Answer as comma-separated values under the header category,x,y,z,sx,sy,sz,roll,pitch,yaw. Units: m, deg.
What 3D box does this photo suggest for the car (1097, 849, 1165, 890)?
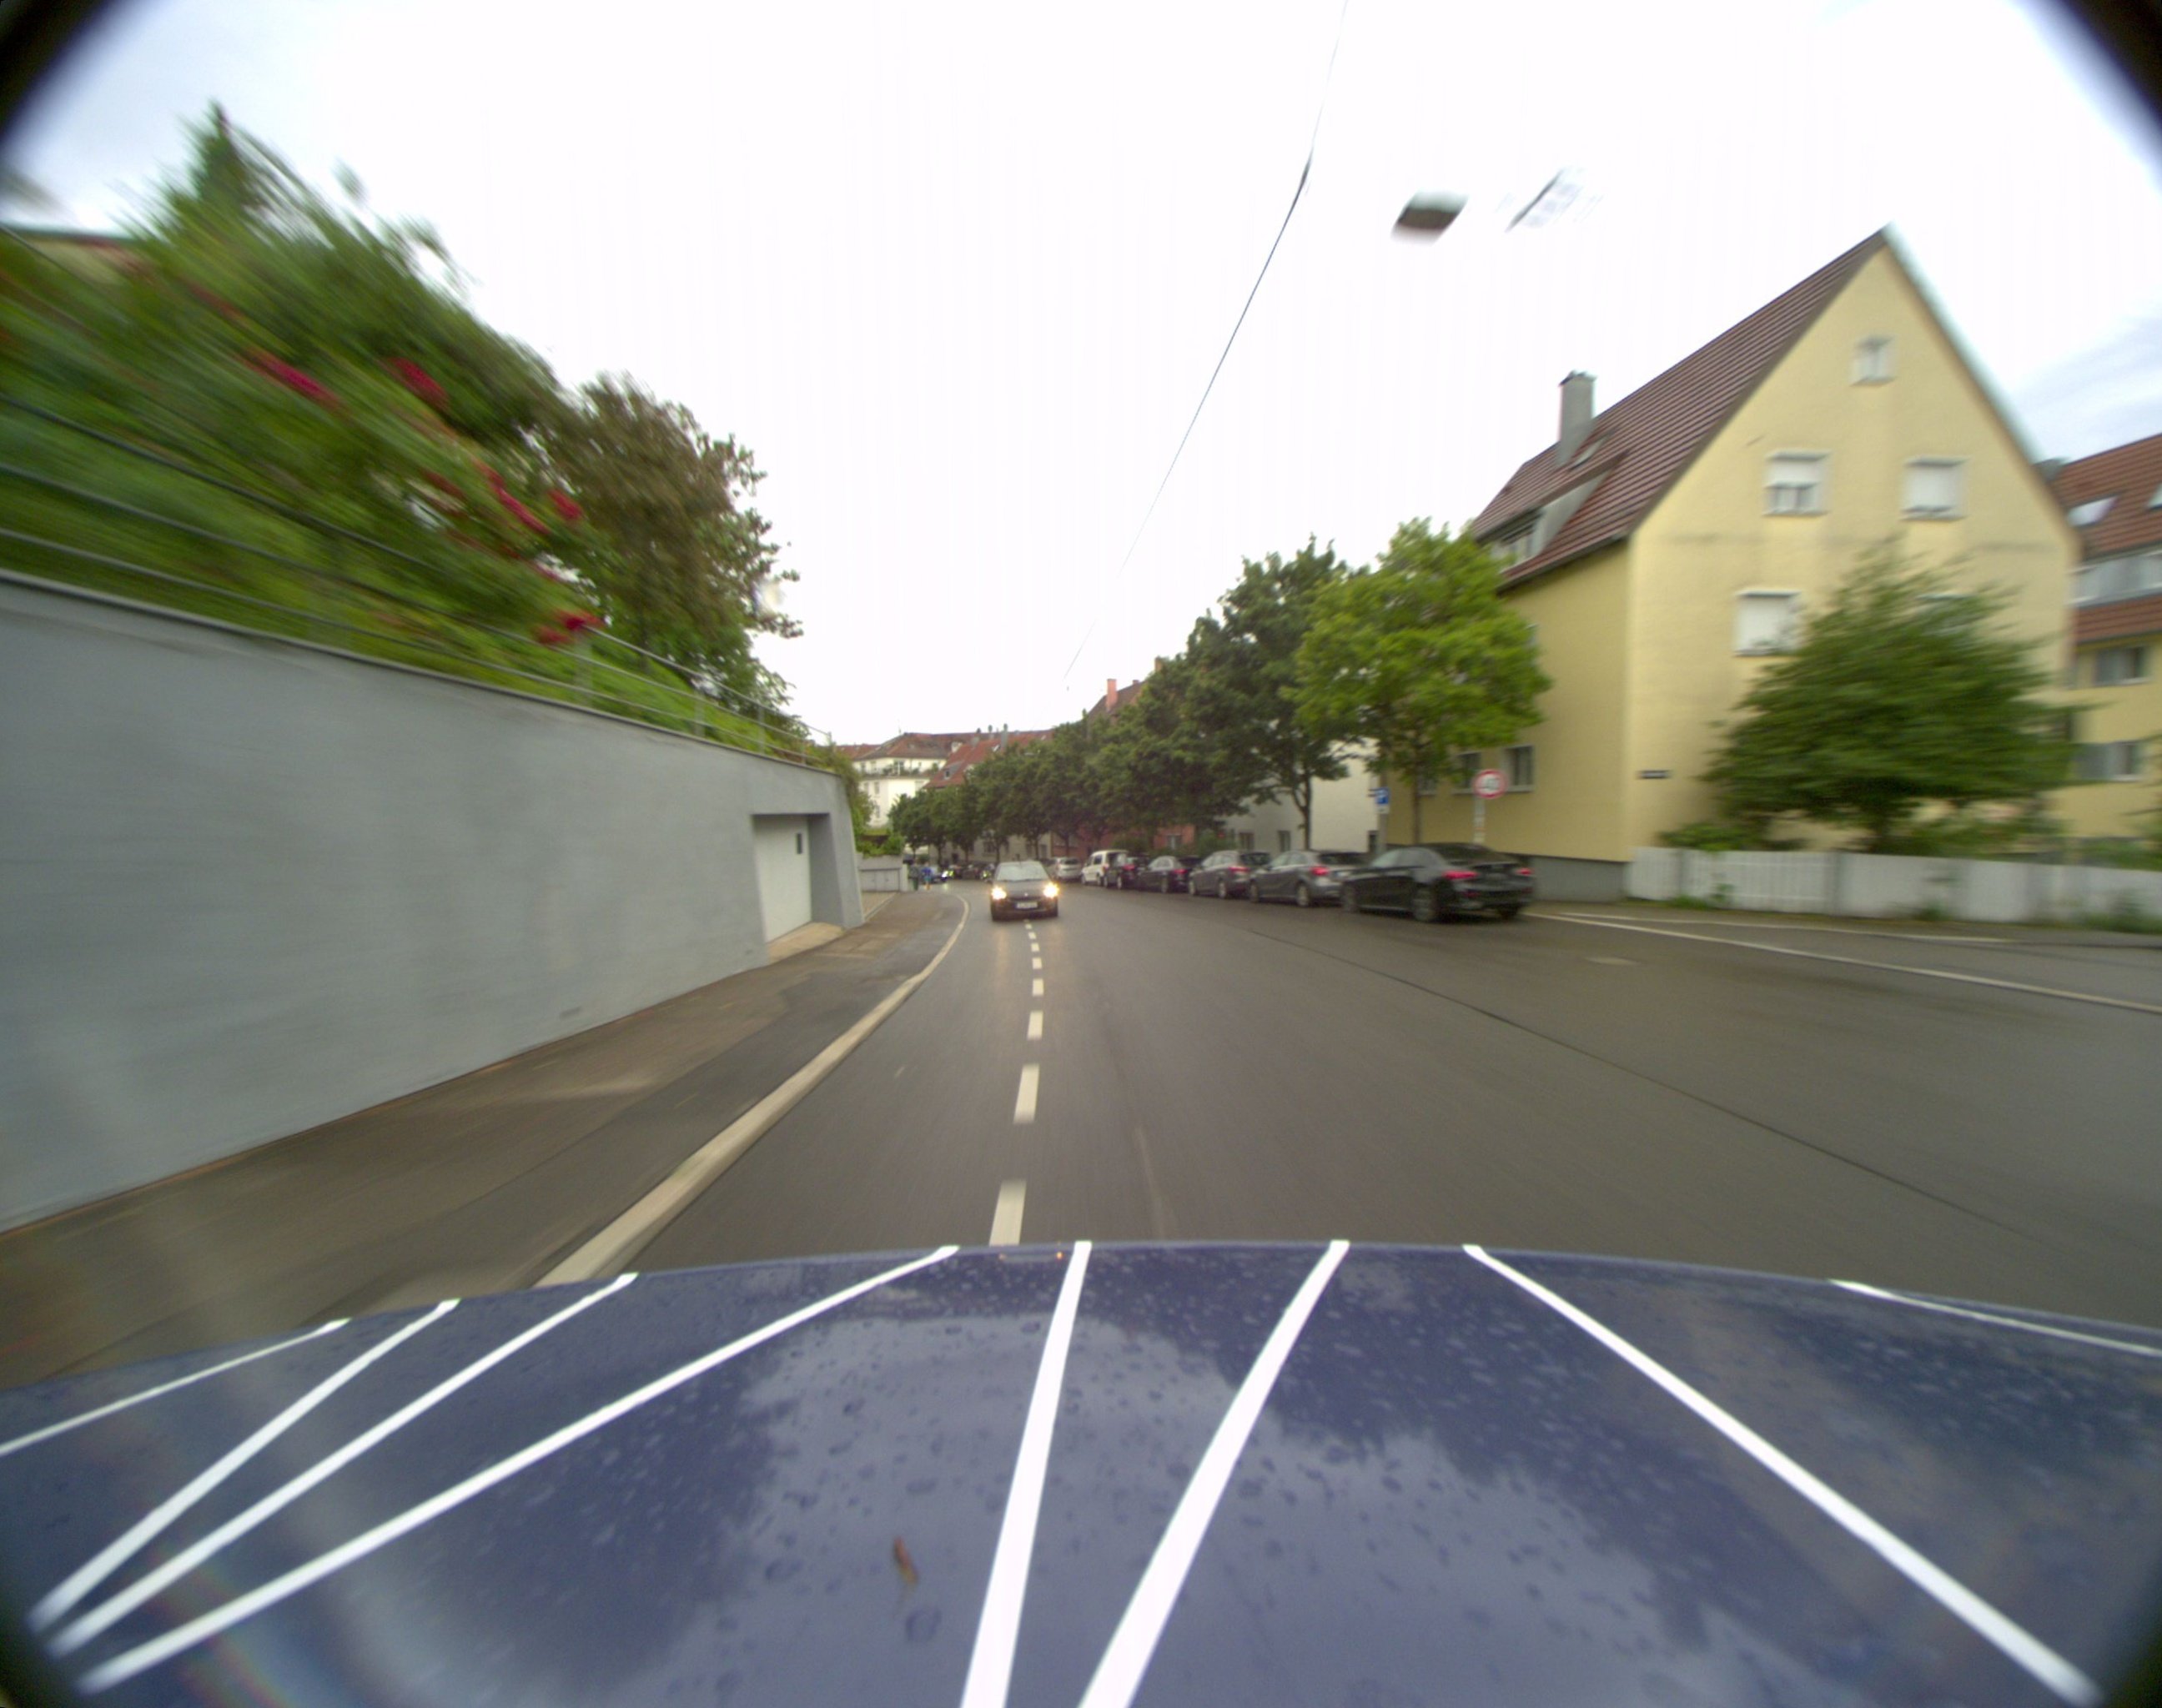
category,x,y,z,sx,sy,sz,roll,pitch,yaw
car,2.246,0.683,35.414,1.860,1.658,4.583,-3,0,-12

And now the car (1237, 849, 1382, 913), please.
category,x,y,z,sx,sy,sz,roll,pitch,yaw
car,5.738,0.633,19.678,1.620,1.388,4.318,-2,0,-13

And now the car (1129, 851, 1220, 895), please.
category,x,y,z,sx,sy,sz,roll,pitch,yaw
car,3.610,0.721,30.326,1.861,1.490,4.734,-3,0,-16

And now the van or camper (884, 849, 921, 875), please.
category,x,y,z,sx,sy,sz,roll,pitch,yaw
van or camper,-21.053,0.957,89.401,2.077,2.843,5.733,-2,0,-37

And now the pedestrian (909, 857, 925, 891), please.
category,x,y,z,sx,sy,sz,roll,pitch,yaw
pedestrian,-9.093,1.097,42.058,0.779,1.821,1.250,0,-1,-15

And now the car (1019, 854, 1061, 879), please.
category,x,y,z,sx,sy,sz,roll,pitch,yaw
car,-3.006,0.885,54.494,1.794,1.631,4.473,-3,0,-19

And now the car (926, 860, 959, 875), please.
category,x,y,z,sx,sy,sz,roll,pitch,yaw
car,-14.622,1.401,79.908,1.796,1.484,4.488,-2,0,-32

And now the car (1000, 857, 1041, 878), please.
category,x,y,z,sx,sy,sz,roll,pitch,yaw
car,-4.785,1.046,59.626,1.795,1.484,4.353,-3,0,-24

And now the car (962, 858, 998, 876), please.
category,x,y,z,sx,sy,sz,roll,pitch,yaw
car,-9.366,1.226,70.205,1.795,1.484,4.352,-3,0,-27

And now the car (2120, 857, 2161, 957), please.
category,x,y,z,sx,sy,sz,roll,pitch,yaw
car,17.705,0.906,10.602,4.000,1.436,1.998,3,1,-7

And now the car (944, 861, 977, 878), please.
category,x,y,z,sx,sy,sz,roll,pitch,yaw
car,-11.913,1.499,74.996,1.795,1.485,4.635,-4,1,-27

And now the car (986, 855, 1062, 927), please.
category,x,y,z,sx,sy,sz,roll,pitch,yaw
car,-1.606,0.889,20.392,1.699,1.456,3.996,-6,2,-6

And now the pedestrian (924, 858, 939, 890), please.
category,x,y,z,sx,sy,sz,roll,pitch,yaw
pedestrian,-8.333,1.106,42.299,0.778,1.748,1.010,0,1,-15

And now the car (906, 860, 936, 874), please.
category,x,y,z,sx,sy,sz,roll,pitch,yaw
car,-17.857,1.498,84.683,1.594,1.401,4.037,-3,0,-38

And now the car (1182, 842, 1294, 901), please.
category,x,y,z,sx,sy,sz,roll,pitch,yaw
car,4.945,0.523,24.657,1.860,1.680,4.550,-1,0,-12

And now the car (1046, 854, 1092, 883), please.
category,x,y,z,sx,sy,sz,roll,pitch,yaw
car,-0.821,0.880,48.212,1.753,1.680,4.594,-3,0,-15

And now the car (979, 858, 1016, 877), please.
category,x,y,z,sx,sy,sz,roll,pitch,yaw
car,-7.228,1.178,65.349,1.795,1.484,4.853,-3,0,-22

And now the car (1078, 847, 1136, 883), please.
category,x,y,z,sx,sy,sz,roll,pitch,yaw
car,1.324,0.580,40.784,1.861,1.766,4.477,-3,0,-14

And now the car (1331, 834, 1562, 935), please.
category,x,y,z,sx,sy,sz,roll,pitch,yaw
car,6.688,0.481,14.557,1.780,1.531,4.513,-3,1,-7
